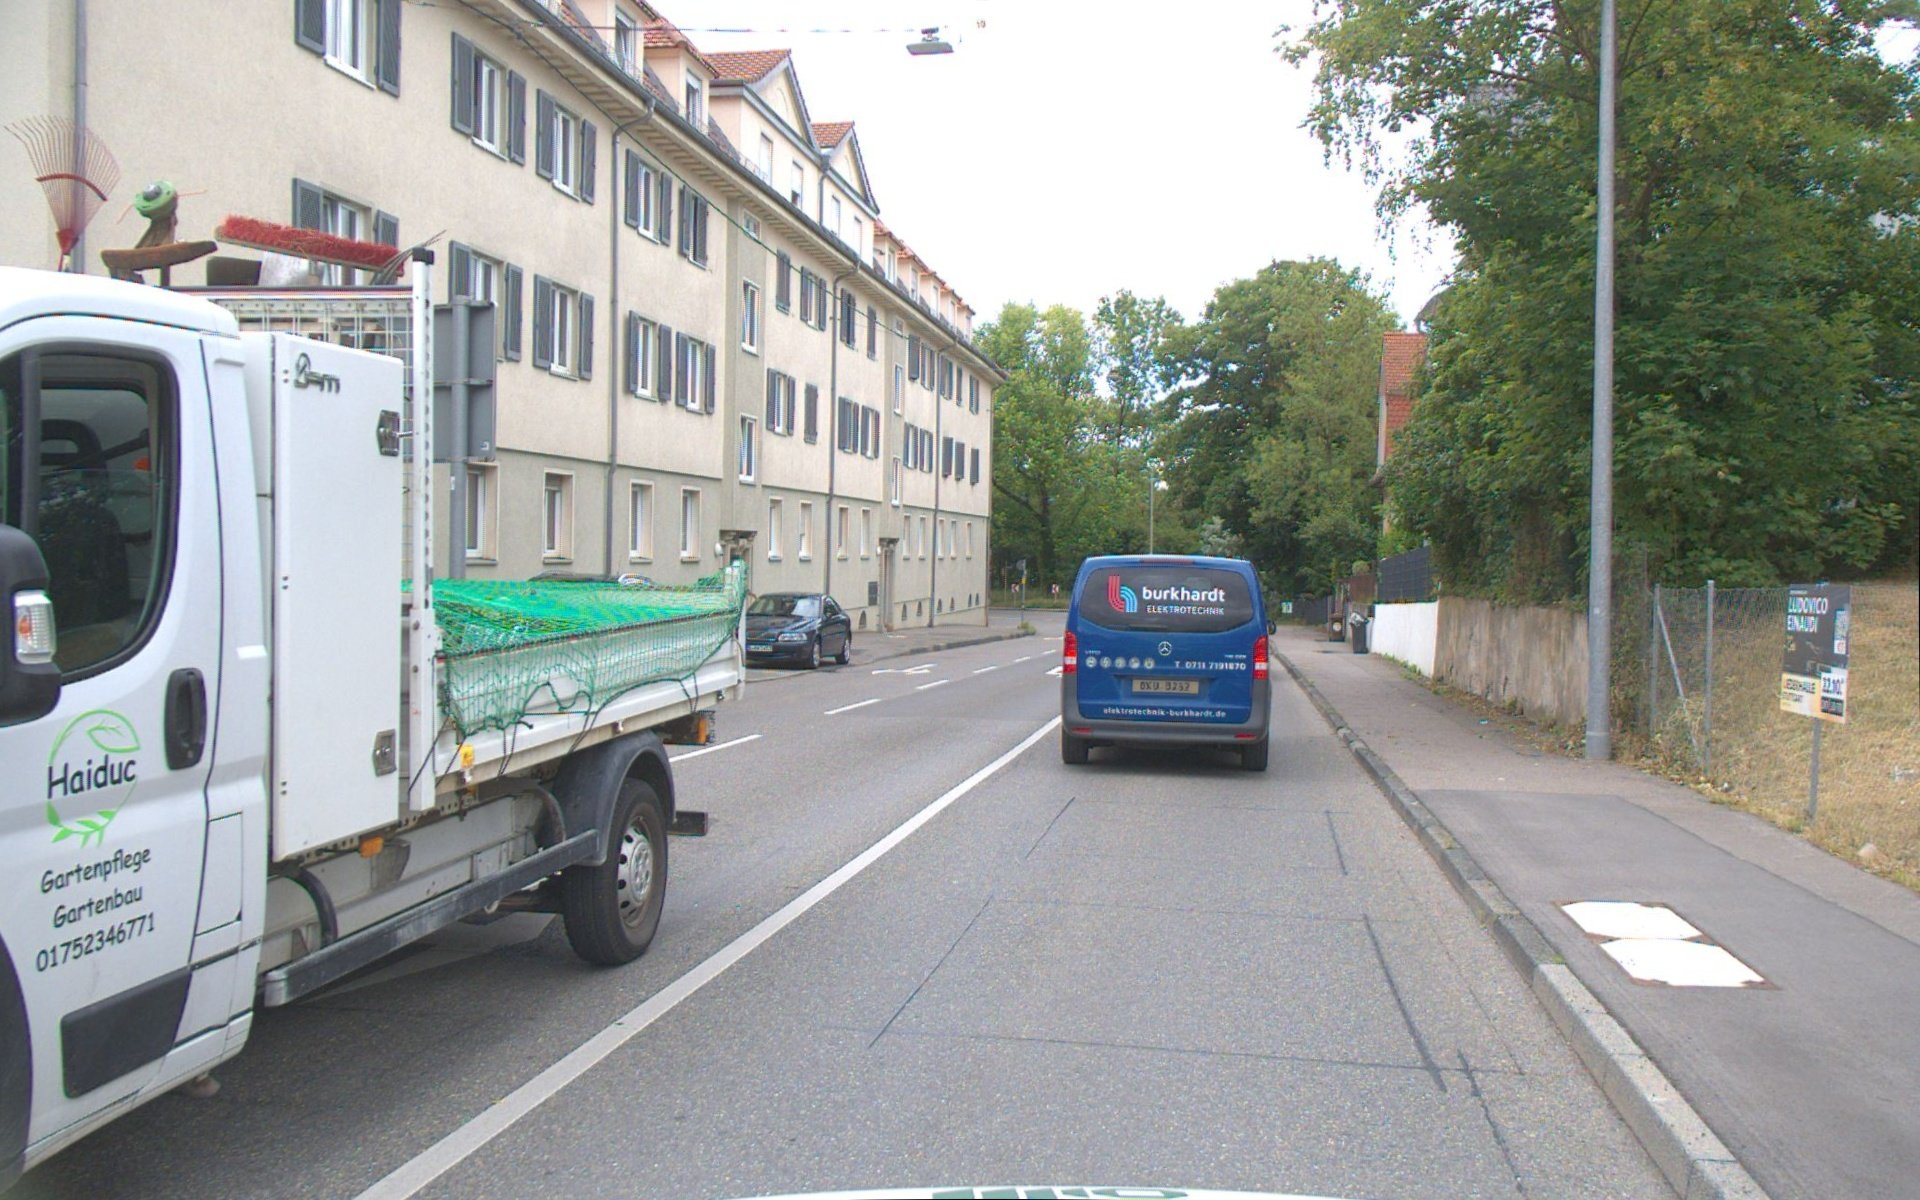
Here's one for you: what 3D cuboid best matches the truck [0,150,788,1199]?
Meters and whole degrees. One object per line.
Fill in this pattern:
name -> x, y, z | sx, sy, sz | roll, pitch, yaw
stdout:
truck -> -2.461, 0.260, 5.057 | 2.076, 2.239, 6.595 | 2, 1, 10

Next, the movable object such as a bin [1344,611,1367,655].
movable object such as a bin -> 10.795, 0.898, 45.206 | 0.516, 1.199, 0.635 | -2, 0, 8

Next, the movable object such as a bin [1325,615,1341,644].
movable object such as a bin -> 12.511, 0.974, 55.420 | 0.451, 0.940, 0.566 | -2, 0, 8

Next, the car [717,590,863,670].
car -> -3.252, 0.544, 32.648 | 1.674, 1.427, 4.850 | 1, 0, 9

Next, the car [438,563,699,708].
car -> -5.064, 0.412, 22.131 | 1.783, 1.661, 4.700 | 2, 1, 8

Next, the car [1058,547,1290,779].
car -> 2.036, 0.512, 15.907 | 1.873, 1.870, 4.297 | 1, 0, 7
